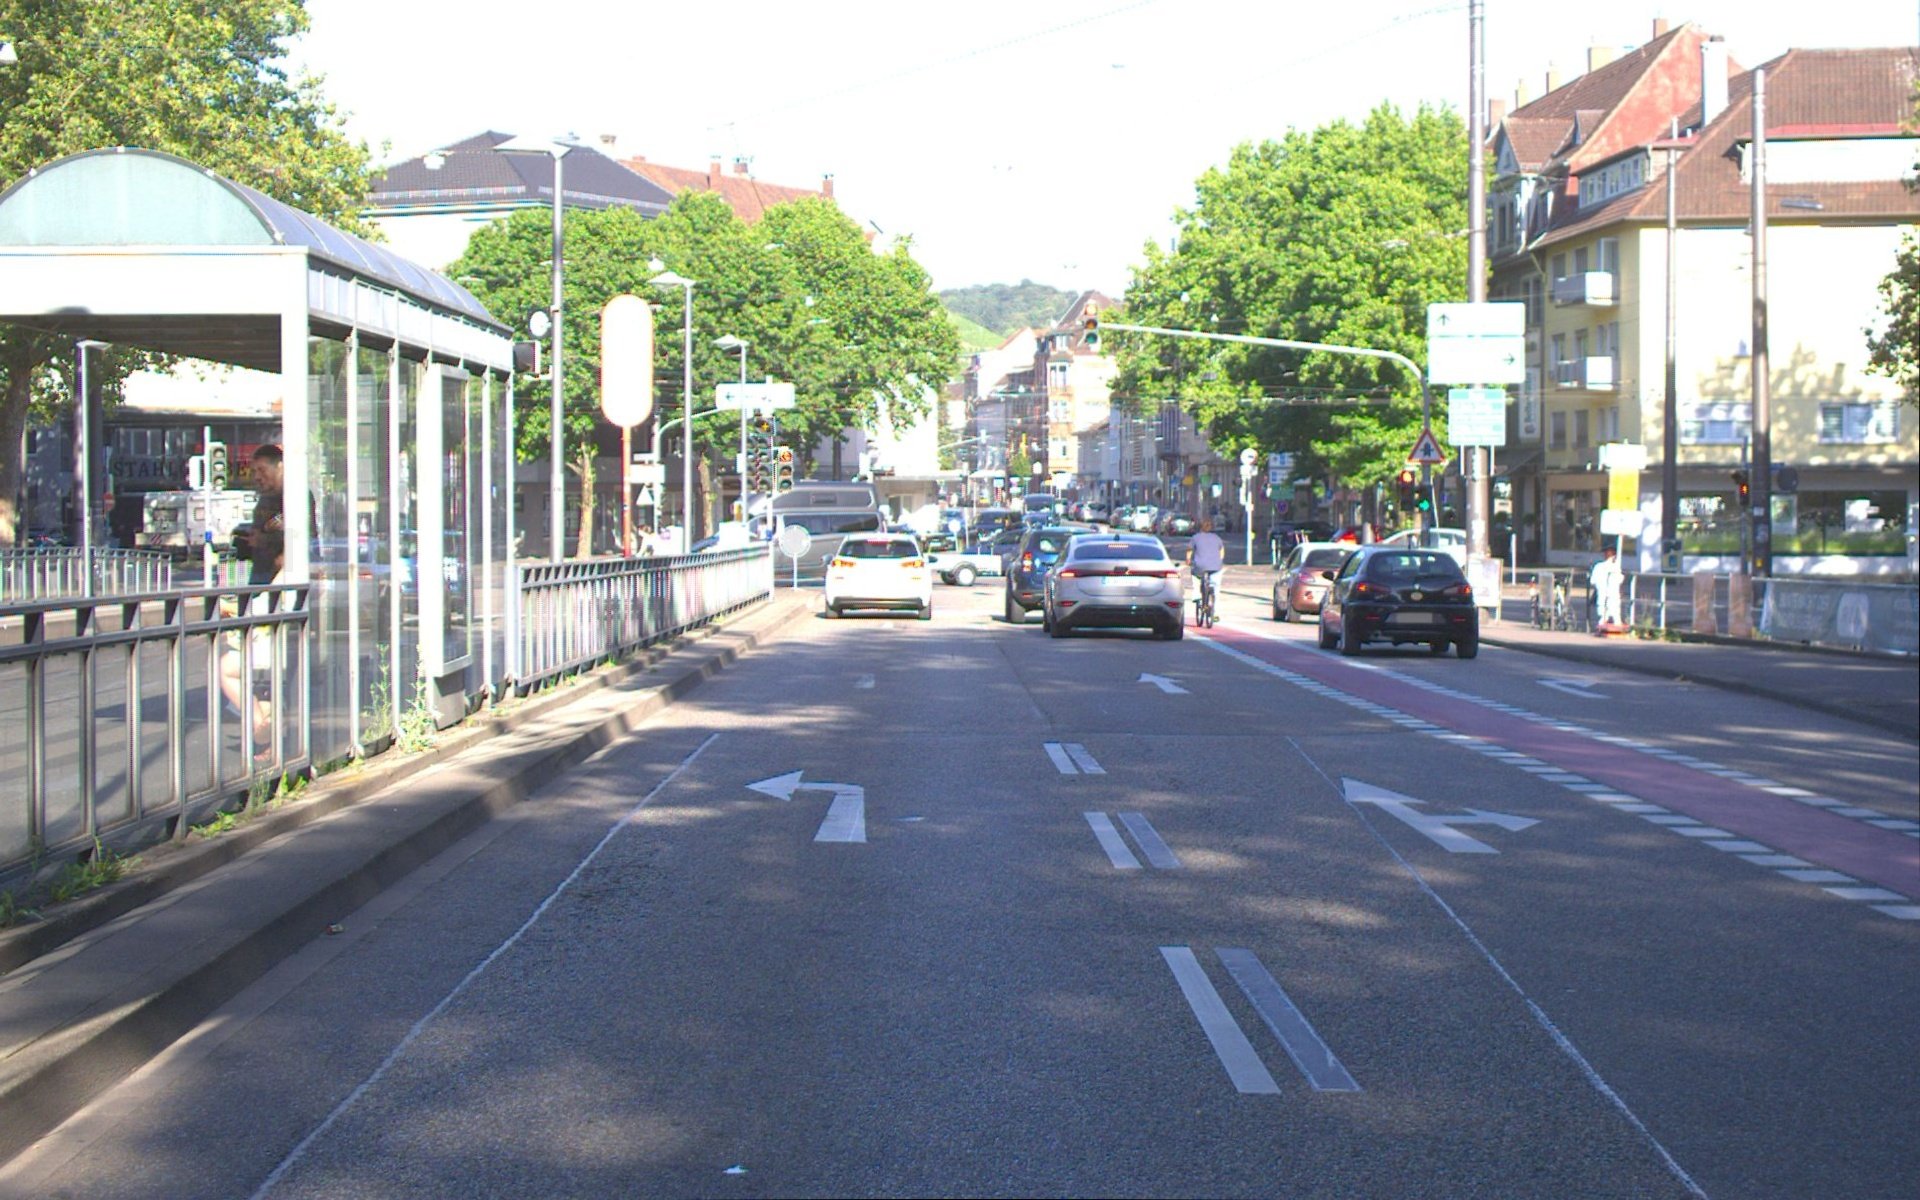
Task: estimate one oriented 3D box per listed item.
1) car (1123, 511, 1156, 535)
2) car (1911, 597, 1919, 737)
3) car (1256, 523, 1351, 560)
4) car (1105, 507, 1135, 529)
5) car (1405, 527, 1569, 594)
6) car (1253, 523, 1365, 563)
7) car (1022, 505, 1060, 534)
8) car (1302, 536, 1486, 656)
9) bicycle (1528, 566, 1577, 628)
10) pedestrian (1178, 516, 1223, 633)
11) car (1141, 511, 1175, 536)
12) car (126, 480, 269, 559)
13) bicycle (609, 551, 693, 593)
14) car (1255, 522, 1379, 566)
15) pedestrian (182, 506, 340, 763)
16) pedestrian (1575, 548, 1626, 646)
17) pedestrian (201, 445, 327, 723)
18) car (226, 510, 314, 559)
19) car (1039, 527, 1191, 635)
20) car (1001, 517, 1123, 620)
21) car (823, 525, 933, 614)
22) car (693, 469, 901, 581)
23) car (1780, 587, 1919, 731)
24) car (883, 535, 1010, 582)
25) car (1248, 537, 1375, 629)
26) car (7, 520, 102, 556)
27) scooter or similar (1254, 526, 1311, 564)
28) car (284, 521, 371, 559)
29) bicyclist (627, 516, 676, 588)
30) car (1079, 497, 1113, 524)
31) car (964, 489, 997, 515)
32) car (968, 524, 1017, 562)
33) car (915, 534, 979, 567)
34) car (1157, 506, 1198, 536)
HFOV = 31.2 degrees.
[{"bbox_3d":[11.319,-4.831,216.477,1.794,1.505,4.000,0,1,-1],"label":"car"},{"bbox_3d":[13.441,0.896,42.324,1.794,1.796,4.212,1,0,-8],"label":"car"},{"bbox_3d":[14.607,-2.486,146.022,3.989,1.505,1.799,-1,2,-42],"label":"car"},{"bbox_3d":[10.966,-5.601,235.705,1.794,1.517,4.000,0,1,-1],"label":"car"},{"bbox_3d":[14.056,-1.067,91.663,4.150,1.686,1.820,1,1,14],"label":"car"},{"bbox_3d":[13.363,-2.199,131.808,3.986,1.505,1.800,0,1,-6],"label":"car"},{"bbox_3d":[4.271,-4.270,182.127,1.794,1.505,4.001,0,1,-2],"label":"car"},{"bbox_3d":[5.623,-0.087,44.957,1.800,1.434,4.045,2,1,-1],"label":"car"},{"bbox_3d":[10.427,-0.061,60.547,0.498,1.071,1.800,1,0,-1],"label":"bicycle"},{"bbox_3d":[3.876,-0.418,55.363,0.657,1.864,0.678,0,1,-1],"label":"pedestrian"},{"bbox_3d":[12.088,-4.678,210.321,1.794,1.505,4.000,0,1,-1],"label":"car"},{"bbox_3d":[-31.366,-3.302,141.666,2.499,3.154,6.528,1,1,22],"label":"car"},{"bbox_3d":[-6.144,-0.562,68.426,1.613,0.813,0.527,1,1,23],"label":"bicycle"},{"bbox_3d":[12.580,-1.978,121.230,3.986,1.505,1.801,0,1,-9],"label":"car"},{"bbox_3d":[-3.633,0.173,17.895,0.678,1.304,0.593,1,1,0],"label":"pedestrian"},{"bbox_3d":[10.393,-0.050,55.775,0.648,1.557,0.631,3,1,18],"label":"pedestrian"},{"bbox_3d":[-4.269,-0.098,21.110,0.595,1.672,0.589,1,1,4],"label":"pedestrian"},{"bbox_3d":[-28.223,-2.675,140.691,1.796,1.949,3.997,1,1,18],"label":"car"},{"bbox_3d":[2.210,-0.317,50.206,1.929,1.467,4.855,1,1,-1],"label":"car"},{"bbox_3d":[1.669,-0.551,57.351,1.800,1.632,4.045,1,1,-1],"label":"car"},{"bbox_3d":[-1.409,-0.544,59.095,1.808,1.447,4.000,1,1,-1],"label":"car"},{"bbox_3d":[-4.207,-1.910,88.499,5.013,2.733,2.074,1,0,-12],"label":"car"},{"bbox_3d":[13.035,0.797,48.177,1.794,1.891,4.360,1,0,-3],"label":"car"},{"bbox_3d":[-0.357,-1.066,89.395,2.902,1.158,2.074,1,0,-12],"label":"car"},{"bbox_3d":[6.295,-0.338,61.998,1.794,1.505,4.001,1,2,-1],"label":"car"},{"bbox_3d":[-38.212,-2.625,145.116,1.796,1.505,3.995,1,1,23],"label":"car"},{"bbox_3d":[10.803,-1.846,115.327,1.949,1.276,0.552,1,1,41],"label":"scooter or similar"},{"bbox_3d":[-25.711,-2.435,139.804,1.796,1.505,4.007,1,1,18],"label":"car"},{"bbox_3d":[-6.140,-0.961,68.418,0.801,1.409,0.527,1,1,23],"label":"bicyclist"},{"bbox_3d":[10.305,-6.794,260.709,2.327,2.007,4.977,0,1,-1],"label":"car"},{"bbox_3d":[1.209,-5.855,205.009,1.794,1.505,4.001,0,1,-2],"label":"car"},{"bbox_3d":[1.587,-2.784,167.526,1.795,1.820,3.999,0,1,10],"label":"car"},{"bbox_3d":[-0.599,-2.308,160.090,1.796,1.505,3.996,0,1,18],"label":"car"},{"bbox_3d":[12.886,-4.669,203.794,2.105,1.770,4.342,0,1,-1],"label":"car"}]
